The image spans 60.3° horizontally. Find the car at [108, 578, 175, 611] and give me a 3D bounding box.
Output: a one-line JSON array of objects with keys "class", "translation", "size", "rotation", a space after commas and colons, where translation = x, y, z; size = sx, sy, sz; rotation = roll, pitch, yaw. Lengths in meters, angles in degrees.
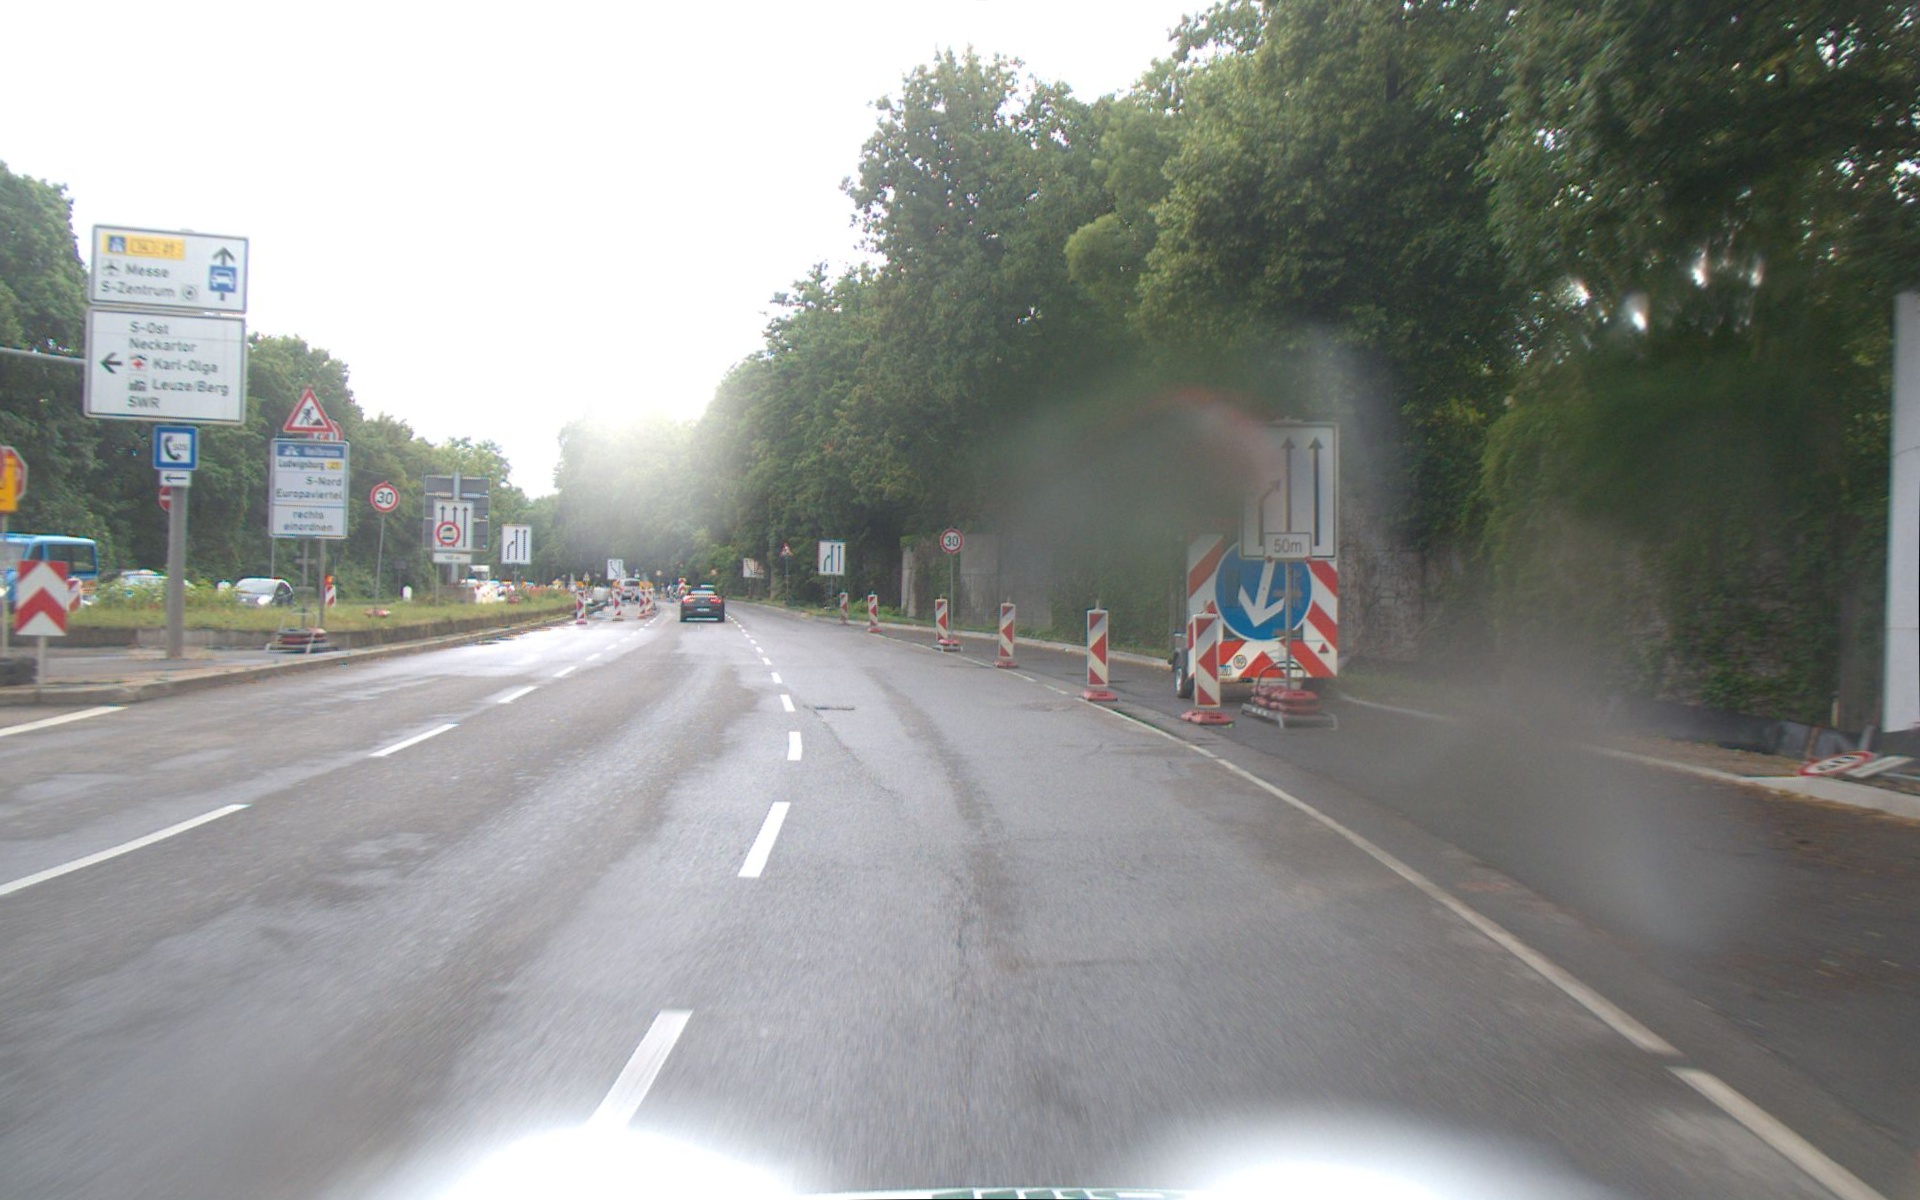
[{"class": "car", "translation": [-29.443, -0.205, 59.550], "size": [1.246, 1.104, 2.789], "rotation": [2, 0, -7]}]

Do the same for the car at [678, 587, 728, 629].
[{"class": "car", "translation": [-10.718, 0.303, 69.151], "size": [1.826, 1.517, 3.995], "rotation": [2, 2, -6]}]

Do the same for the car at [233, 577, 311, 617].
[{"class": "car", "translation": [-22.080, -0.078, 53.193], "size": [1.402, 1.221, 3.295], "rotation": [1, 0, -6]}]

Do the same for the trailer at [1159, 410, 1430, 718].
[{"class": "trailer", "translation": [4.326, -0.424, 22.607], "size": [2.261, 3.652, 5.957], "rotation": [0, 0, -2]}]

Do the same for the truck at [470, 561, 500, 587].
[{"class": "truck", "translation": [-60.885, -3.277, 212.084], "size": [2.745, 3.203, 10.120], "rotation": [0, 0, -11]}]

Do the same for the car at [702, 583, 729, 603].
[{"class": "car", "translation": [-21.625, -0.630, 146.115], "size": [1.882, 1.626, 4.815], "rotation": [1, 0, -15]}]

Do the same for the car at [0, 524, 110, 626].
[{"class": "car", "translation": [-24.244, -0.672, 42.519], "size": [2.153, 2.432, 6.235], "rotation": [2, 1, -7]}]

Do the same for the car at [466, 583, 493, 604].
[{"class": "car", "translation": [-43.351, -0.600, 149.289], "size": [1.880, 1.812, 4.821], "rotation": [1, 0, -11]}]

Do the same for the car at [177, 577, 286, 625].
[{"class": "car", "translation": [-19.705, 0.038, 44.915], "size": [1.520, 1.221, 4.636], "rotation": [1, 0, -9]}]
